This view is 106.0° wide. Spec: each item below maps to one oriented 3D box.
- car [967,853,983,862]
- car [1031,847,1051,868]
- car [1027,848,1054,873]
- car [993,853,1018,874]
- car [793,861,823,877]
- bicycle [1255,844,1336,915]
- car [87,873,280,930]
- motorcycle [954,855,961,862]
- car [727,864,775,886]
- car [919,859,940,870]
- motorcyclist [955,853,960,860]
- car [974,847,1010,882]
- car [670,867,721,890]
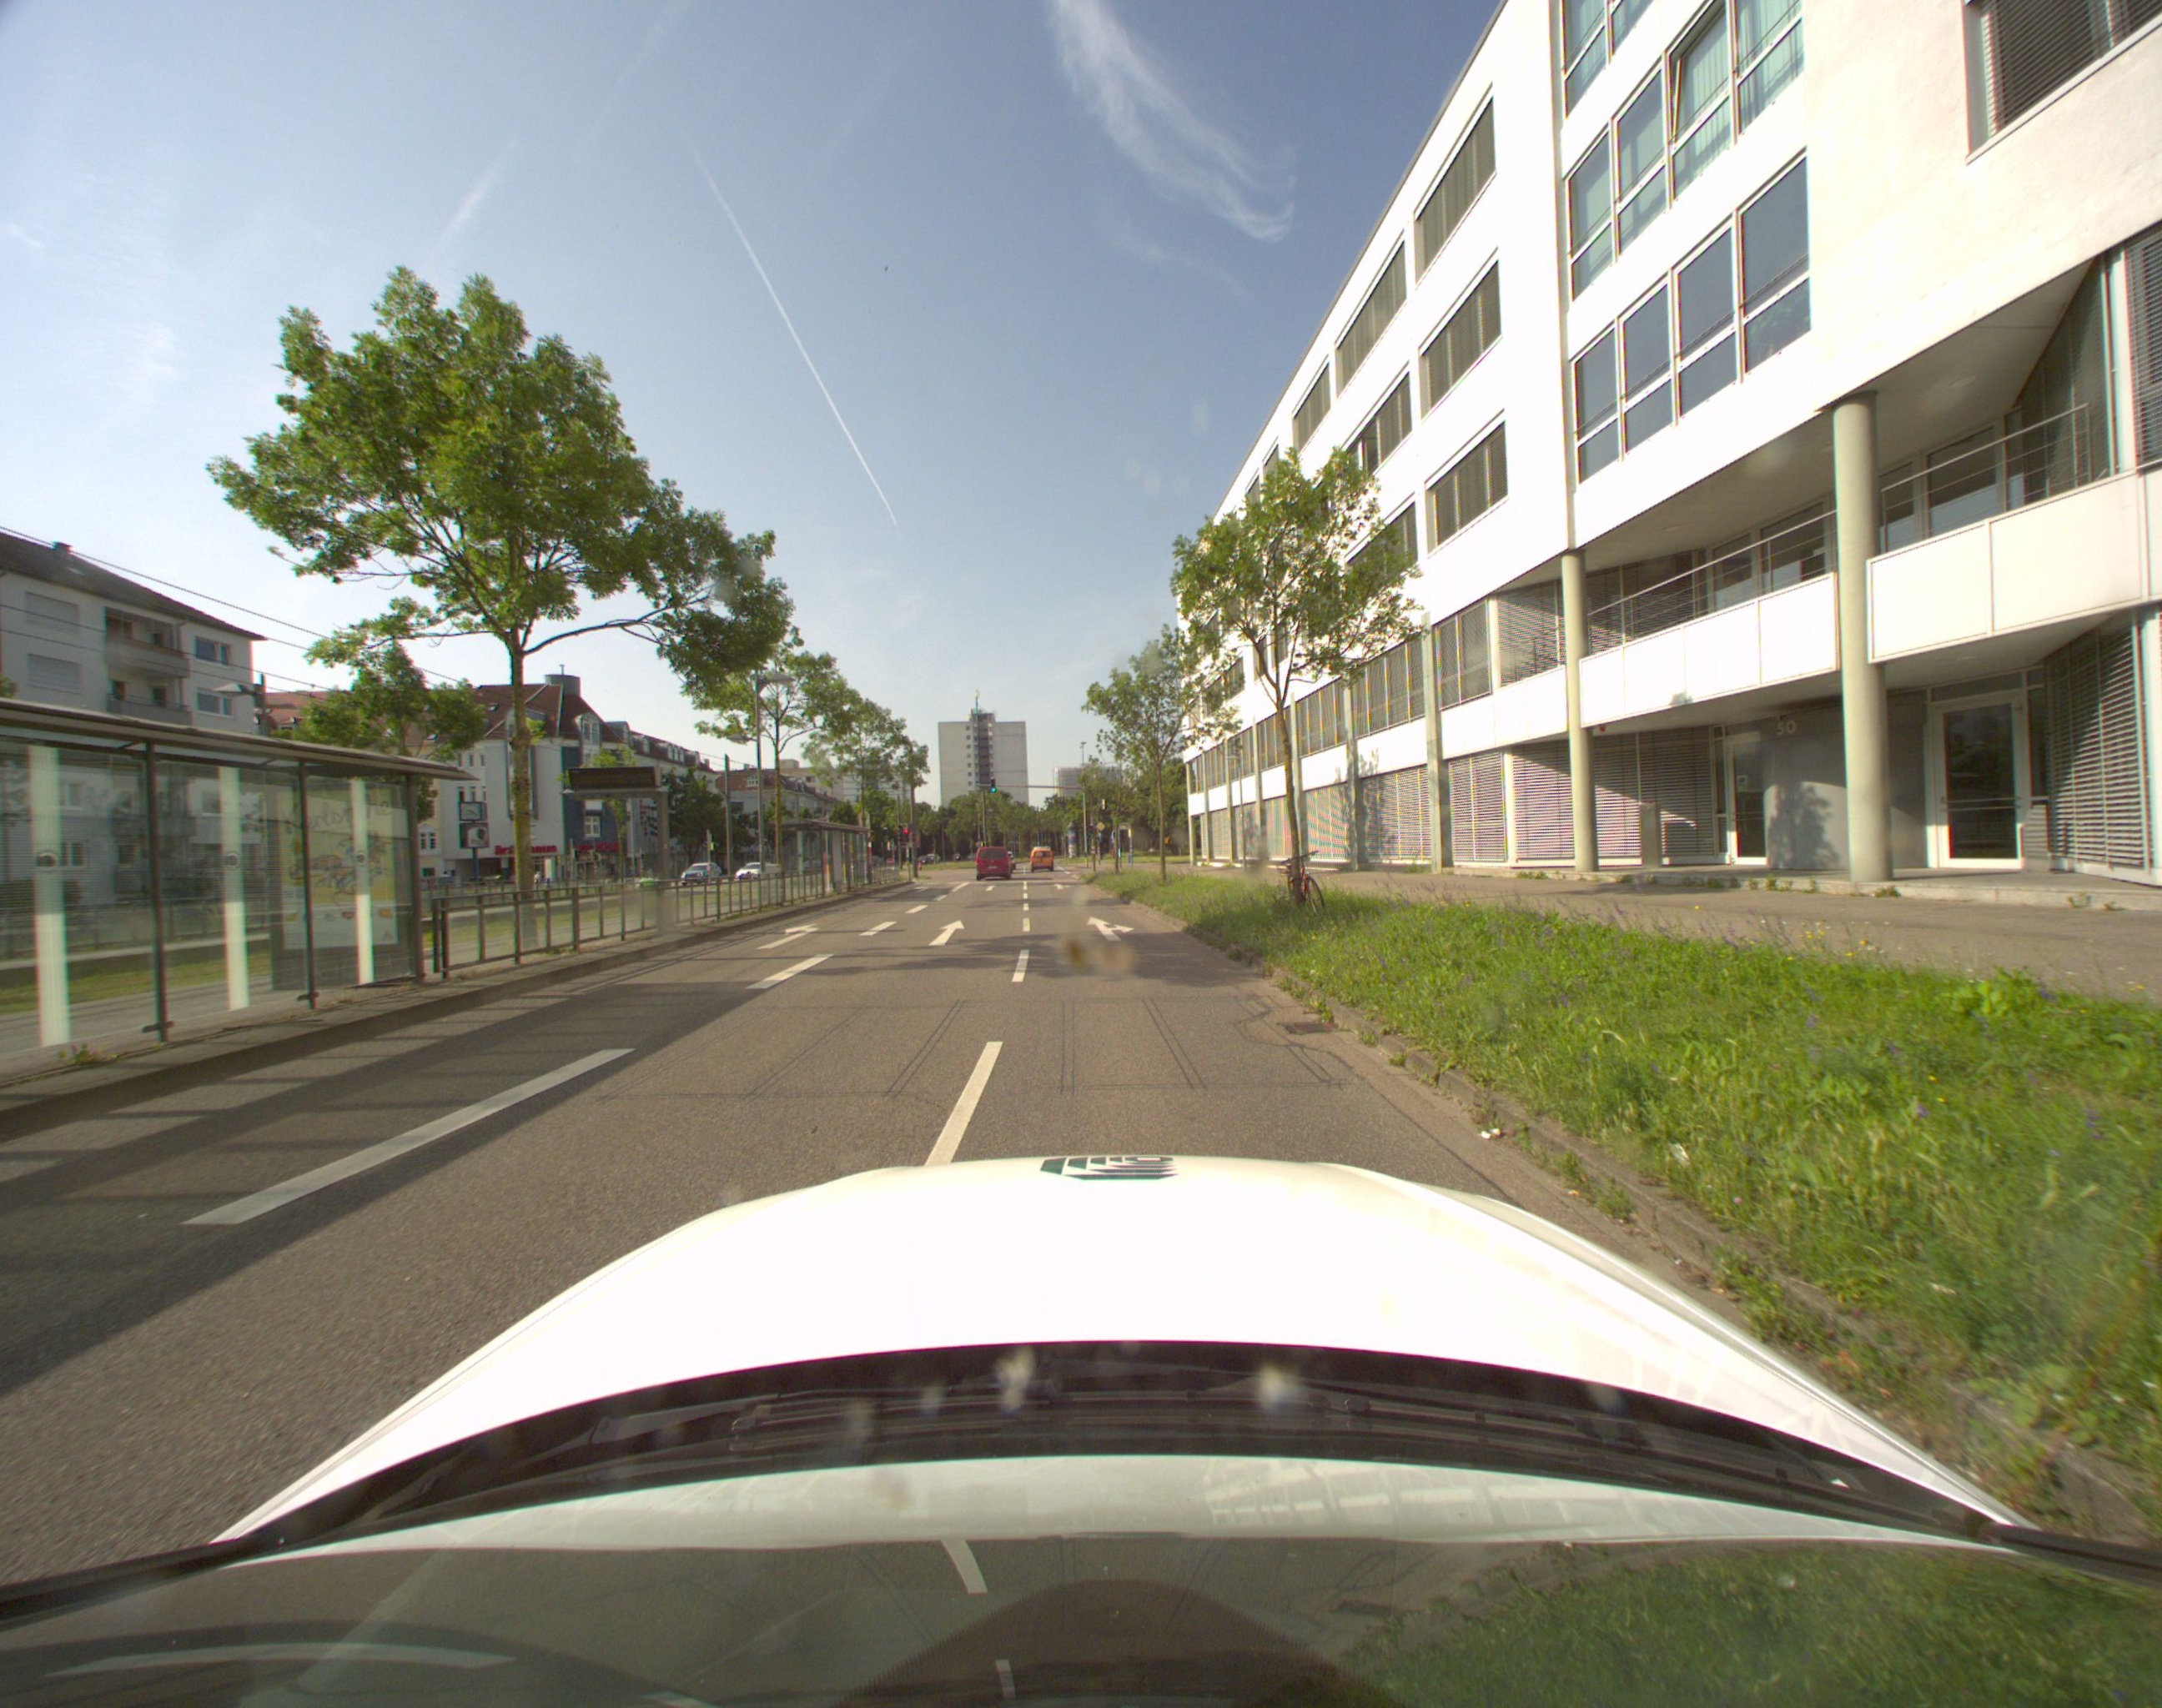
[{"bbox_3d":[-19.927,0.609,152.777,1.864,1.574,4.010,-2,0,8],"label":"car"},{"bbox_3d":[-4.047,0.344,82.069,1.990,2.014,3.994,0,0,-4],"label":"car"},{"bbox_3d":[-3.045,0.475,61.256,1.872,1.696,3.968,-2,0,-3],"label":"car"},{"bbox_3d":[-6.529,0.802,71.153,1.990,1.706,3.994,-3,0,-4],"label":"car"},{"bbox_3d":[-28.755,1.582,85.953,1.870,1.574,3.998,-2,0,-1],"label":"car"},{"bbox_3d":[3.335,0.372,12.838,0.617,1.017,1.876,-2,0,-5],"label":"bicycle"},{"bbox_3d":[-36.929,1.872,33.823,2.362,2.030,5.302,0,0,-5],"label":"car"},{"bbox_3d":[-20.653,0.765,136.414,0.633,1.167,1.648,-2,0,9],"label":"motorcycle"},{"bbox_3d":[-25.092,1.559,62.006,1.987,1.596,4.048,-1,0,0],"label":"car"},{"bbox_3d":[-22.195,1.529,119.316,1.864,1.574,4.009,-1,0,8],"label":"car"},{"bbox_3d":[-20.662,0.367,136.417,0.616,1.167,0.552,-2,0,9],"label":"motorcyclist"},{"bbox_3d":[-5.030,0.589,46.358,1.872,1.853,3.992,-2,0,-5],"label":"car"},{"bbox_3d":[-28.266,1.757,59.823,1.989,1.596,3.995,0,0,-3],"label":"car"}]
